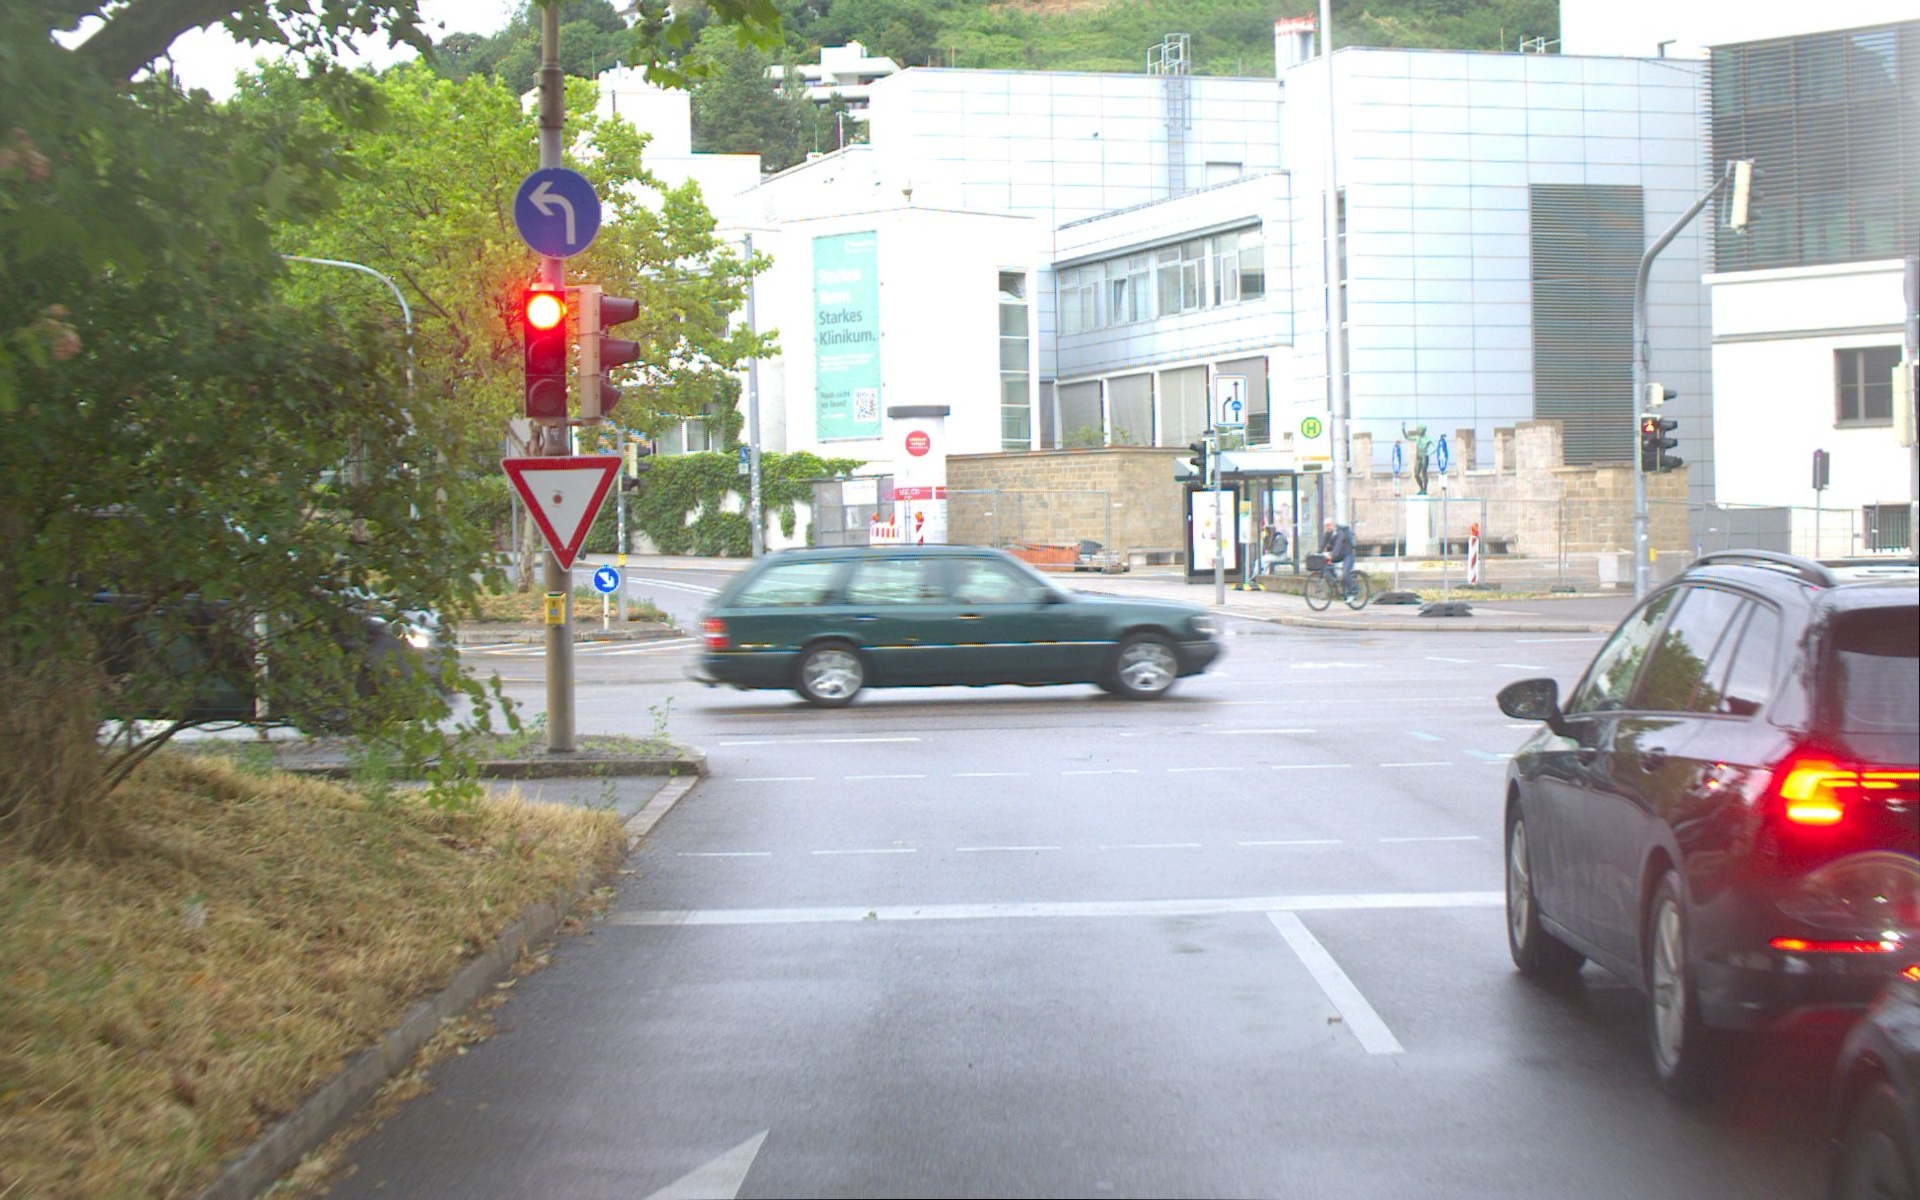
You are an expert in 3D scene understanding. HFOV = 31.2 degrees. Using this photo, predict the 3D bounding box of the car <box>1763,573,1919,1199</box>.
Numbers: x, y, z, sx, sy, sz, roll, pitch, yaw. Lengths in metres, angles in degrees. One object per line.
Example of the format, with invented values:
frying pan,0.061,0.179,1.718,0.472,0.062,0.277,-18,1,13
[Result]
car,2.182,0.730,3.279,1.879,1.440,4.930,1,1,3

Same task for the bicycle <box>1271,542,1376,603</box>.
bicycle,6.345,-0.475,59.943,1.815,1.053,0.648,0,0,-33

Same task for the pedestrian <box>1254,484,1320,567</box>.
pedestrian,6.841,-1.556,72.009,1.257,1.713,1.016,1,0,0

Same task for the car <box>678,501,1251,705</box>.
car,-0.021,0.014,31.163,4.953,1.667,2.000,-1,0,-7

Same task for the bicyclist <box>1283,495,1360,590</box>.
bicyclist,6.301,-0.989,59.903,1.125,1.627,0.702,1,0,-32

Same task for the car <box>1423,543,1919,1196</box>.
car,2.601,0.597,10.353,1.670,1.461,4.513,0,2,-2

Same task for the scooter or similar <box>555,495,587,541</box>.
scooter or similar,-10.787,-2.269,95.268,0.591,1.234,1.314,1,0,-20

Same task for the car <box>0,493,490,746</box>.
car,-6.182,0.140,26.414,4.771,1.803,2.000,-1,1,2
